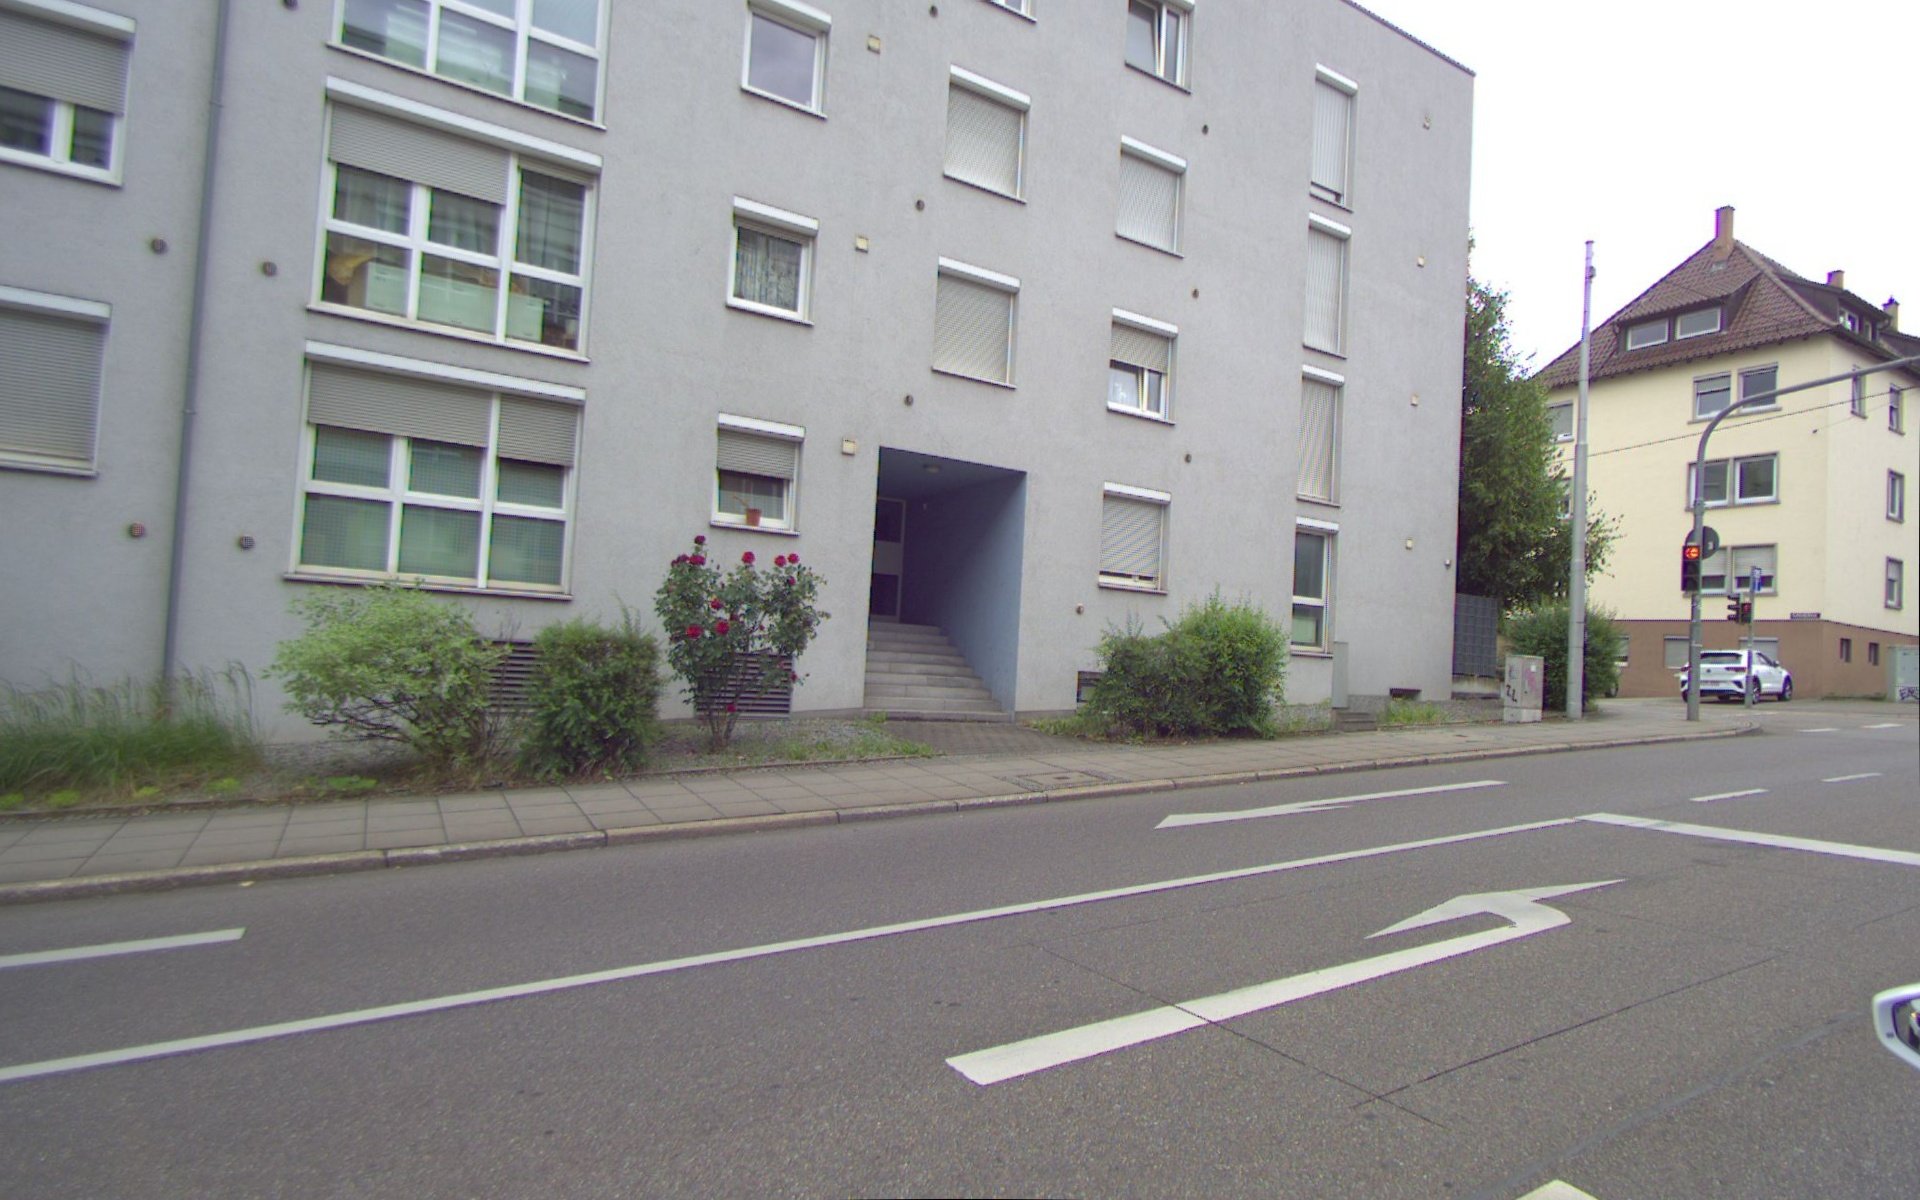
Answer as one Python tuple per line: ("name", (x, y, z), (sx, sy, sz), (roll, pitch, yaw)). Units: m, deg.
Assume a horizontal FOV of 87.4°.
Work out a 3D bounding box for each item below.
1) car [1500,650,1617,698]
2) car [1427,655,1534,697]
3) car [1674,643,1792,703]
("car", (20.562, 2.517, 34.470), (4.053, 1.566, 1.662), (2, -4, -30))
("car", (19.082, 2.756, 36.788), (3.953, 1.380, 1.662), (2, -1, -30))
("car", (23.250, 2.169, 30.177), (3.960, 1.683, 1.660), (2, -4, -35))
